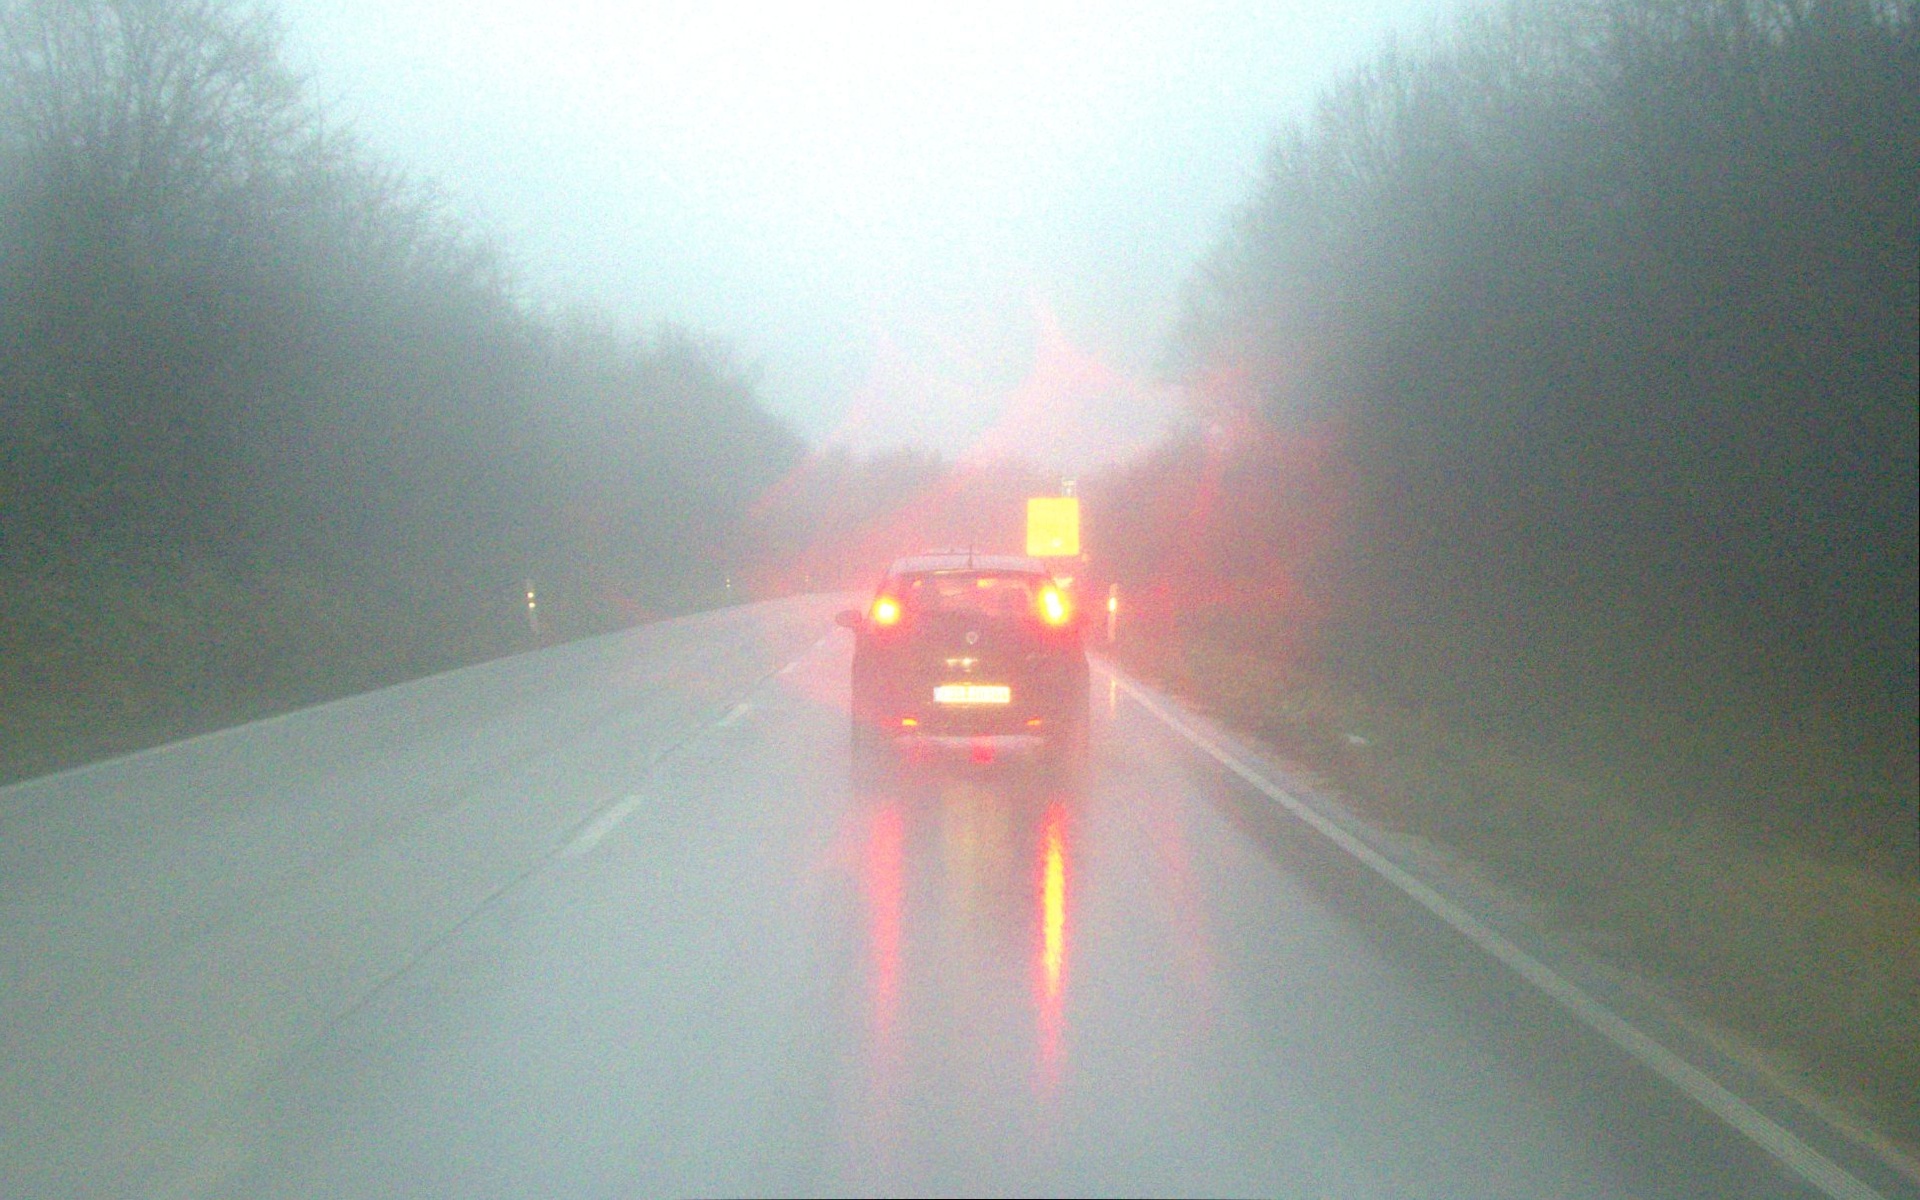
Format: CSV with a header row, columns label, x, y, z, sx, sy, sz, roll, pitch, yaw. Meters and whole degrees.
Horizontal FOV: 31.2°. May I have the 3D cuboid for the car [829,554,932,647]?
label,x,y,z,sx,sy,sz,roll,pitch,yaw
car,-1.420,-0.010,62.577,1.728,1.638,4.000,0,1,1

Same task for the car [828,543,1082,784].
label,x,y,z,sx,sy,sz,roll,pitch,yaw
car,0.000,0.407,25.404,1.728,1.638,4.000,0,1,1
